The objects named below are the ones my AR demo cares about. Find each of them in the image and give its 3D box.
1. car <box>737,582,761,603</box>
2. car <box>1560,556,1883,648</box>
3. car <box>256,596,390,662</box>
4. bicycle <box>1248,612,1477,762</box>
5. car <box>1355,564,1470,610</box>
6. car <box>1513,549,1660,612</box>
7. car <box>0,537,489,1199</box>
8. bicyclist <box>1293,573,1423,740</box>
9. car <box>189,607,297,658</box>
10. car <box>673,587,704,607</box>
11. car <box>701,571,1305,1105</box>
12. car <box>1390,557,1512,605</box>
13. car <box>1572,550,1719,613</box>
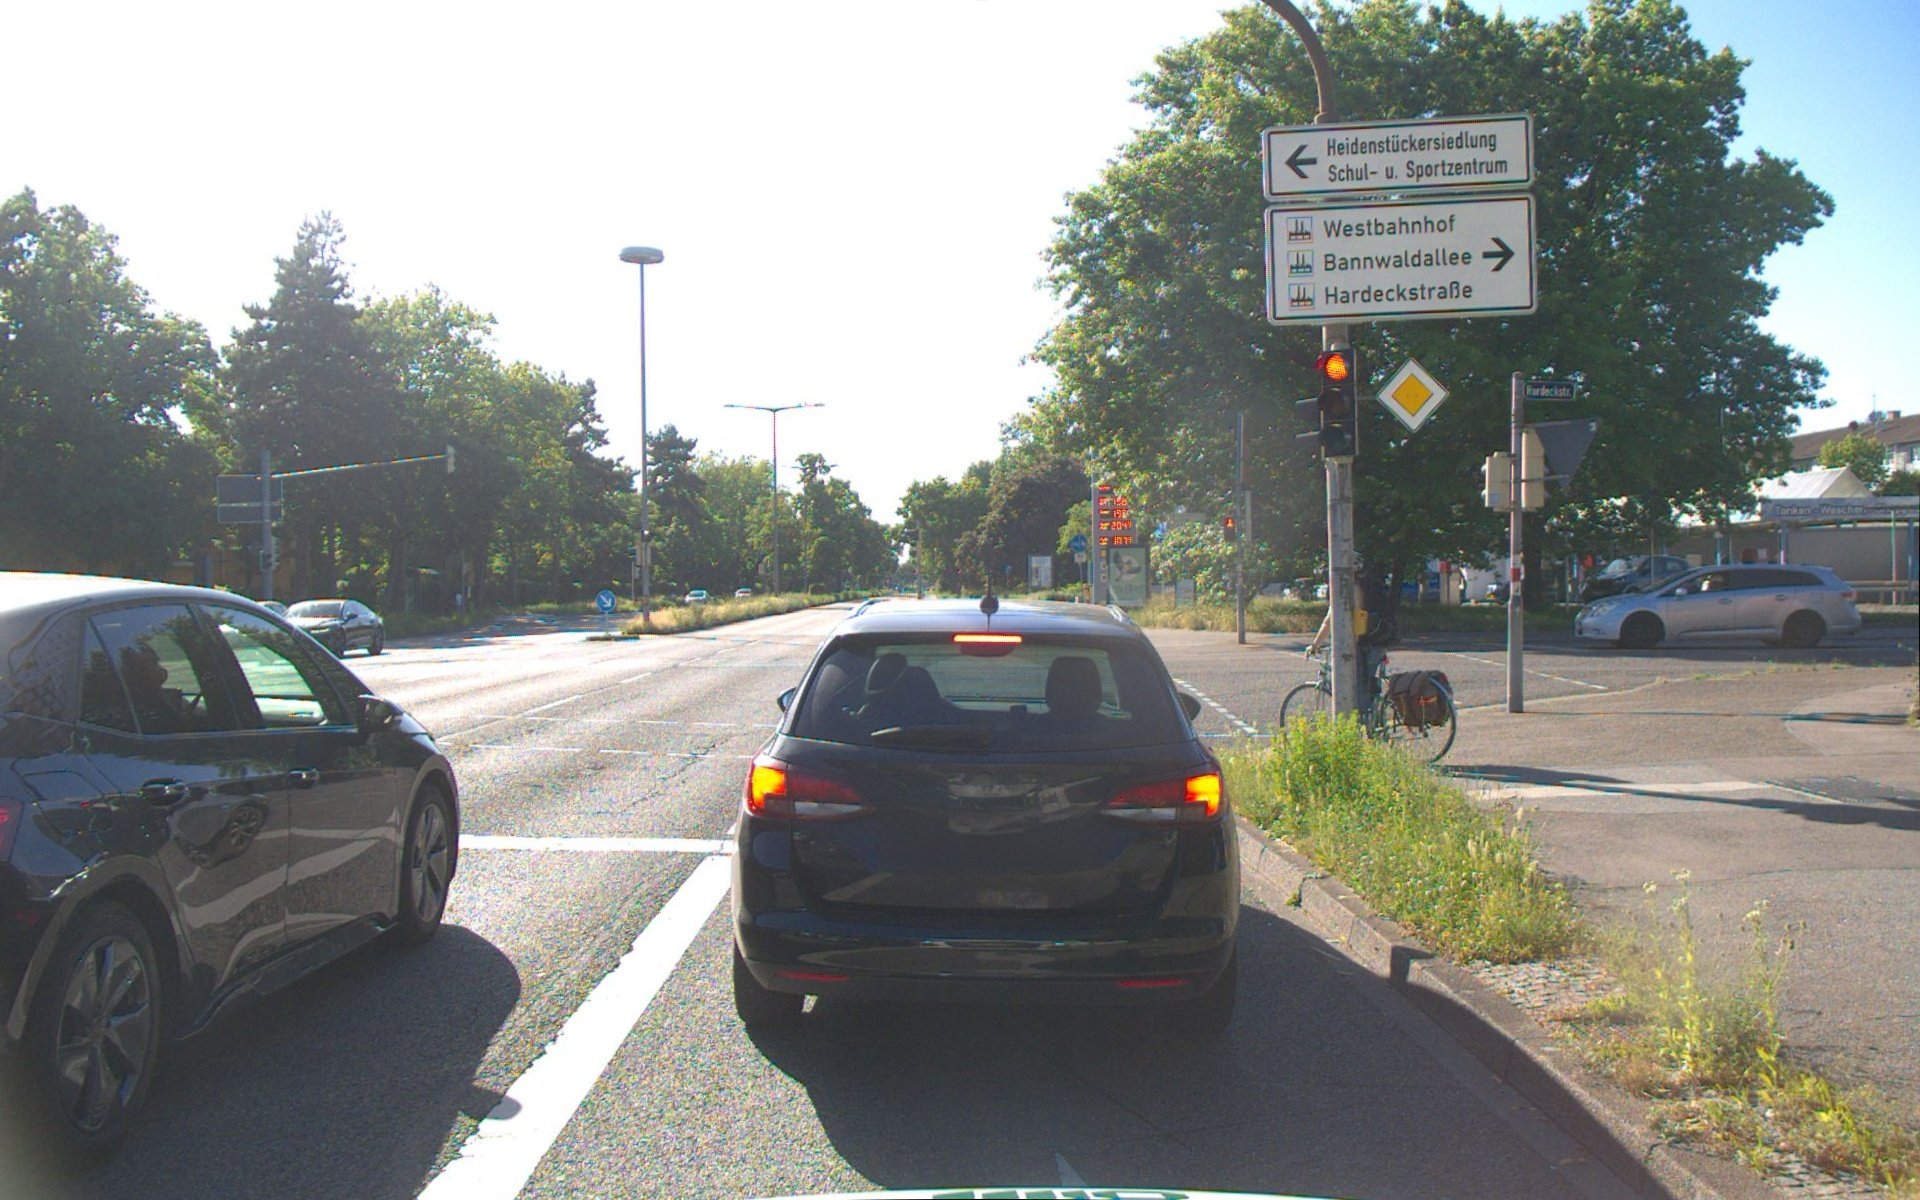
[{"bbox_3d":[-21.684,-0.778,169.856,1.953,2.049,3.999,-2,0,-1],"label":"car"},{"bbox_3d":[13.536,0.029,29.708,4.897,1.512,2.002,-1,0,11],"label":"car"},{"bbox_3d":[-15.733,0.675,41.052,1.740,1.488,4.164,-1,0,-1],"label":"car"},{"bbox_3d":[3.222,0.703,13.376,0.533,1.117,1.748,-2,-2,-44],"label":"bicycle"},{"bbox_3d":[16.432,-0.468,60.064,3.837,1.544,1.732,-2,0,-24],"label":"car"},{"bbox_3d":[18.946,-0.599,50.011,3.935,1.780,1.985,-2,1,-24],"label":"car"},{"bbox_3d":[-3.003,0.663,5.611,1.650,1.608,4.206,0,0,-1],"label":"car"},{"bbox_3d":[3.215,0.457,13.378,0.534,1.299,0.816,-2,-2,-44],"label":"bicyclist"},{"bbox_3d":[-19.376,0.854,44.809,1.361,1.256,3.635,-1,0,-1],"label":"car"},{"bbox_3d":[-22.207,-0.222,135.307,1.953,1.556,3.999,-2,0,-1],"label":"car"},{"bbox_3d":[0.098,0.688,6.842,1.721,1.521,4.206,0,0,-1],"label":"car"},{"bbox_3d":[16.909,-0.655,56.989,3.837,1.544,1.732,-2,0,-24],"label":"car"},{"bbox_3d":[19.988,-0.538,48.200,3.934,1.709,1.732,-2,0,-24],"label":"car"}]
